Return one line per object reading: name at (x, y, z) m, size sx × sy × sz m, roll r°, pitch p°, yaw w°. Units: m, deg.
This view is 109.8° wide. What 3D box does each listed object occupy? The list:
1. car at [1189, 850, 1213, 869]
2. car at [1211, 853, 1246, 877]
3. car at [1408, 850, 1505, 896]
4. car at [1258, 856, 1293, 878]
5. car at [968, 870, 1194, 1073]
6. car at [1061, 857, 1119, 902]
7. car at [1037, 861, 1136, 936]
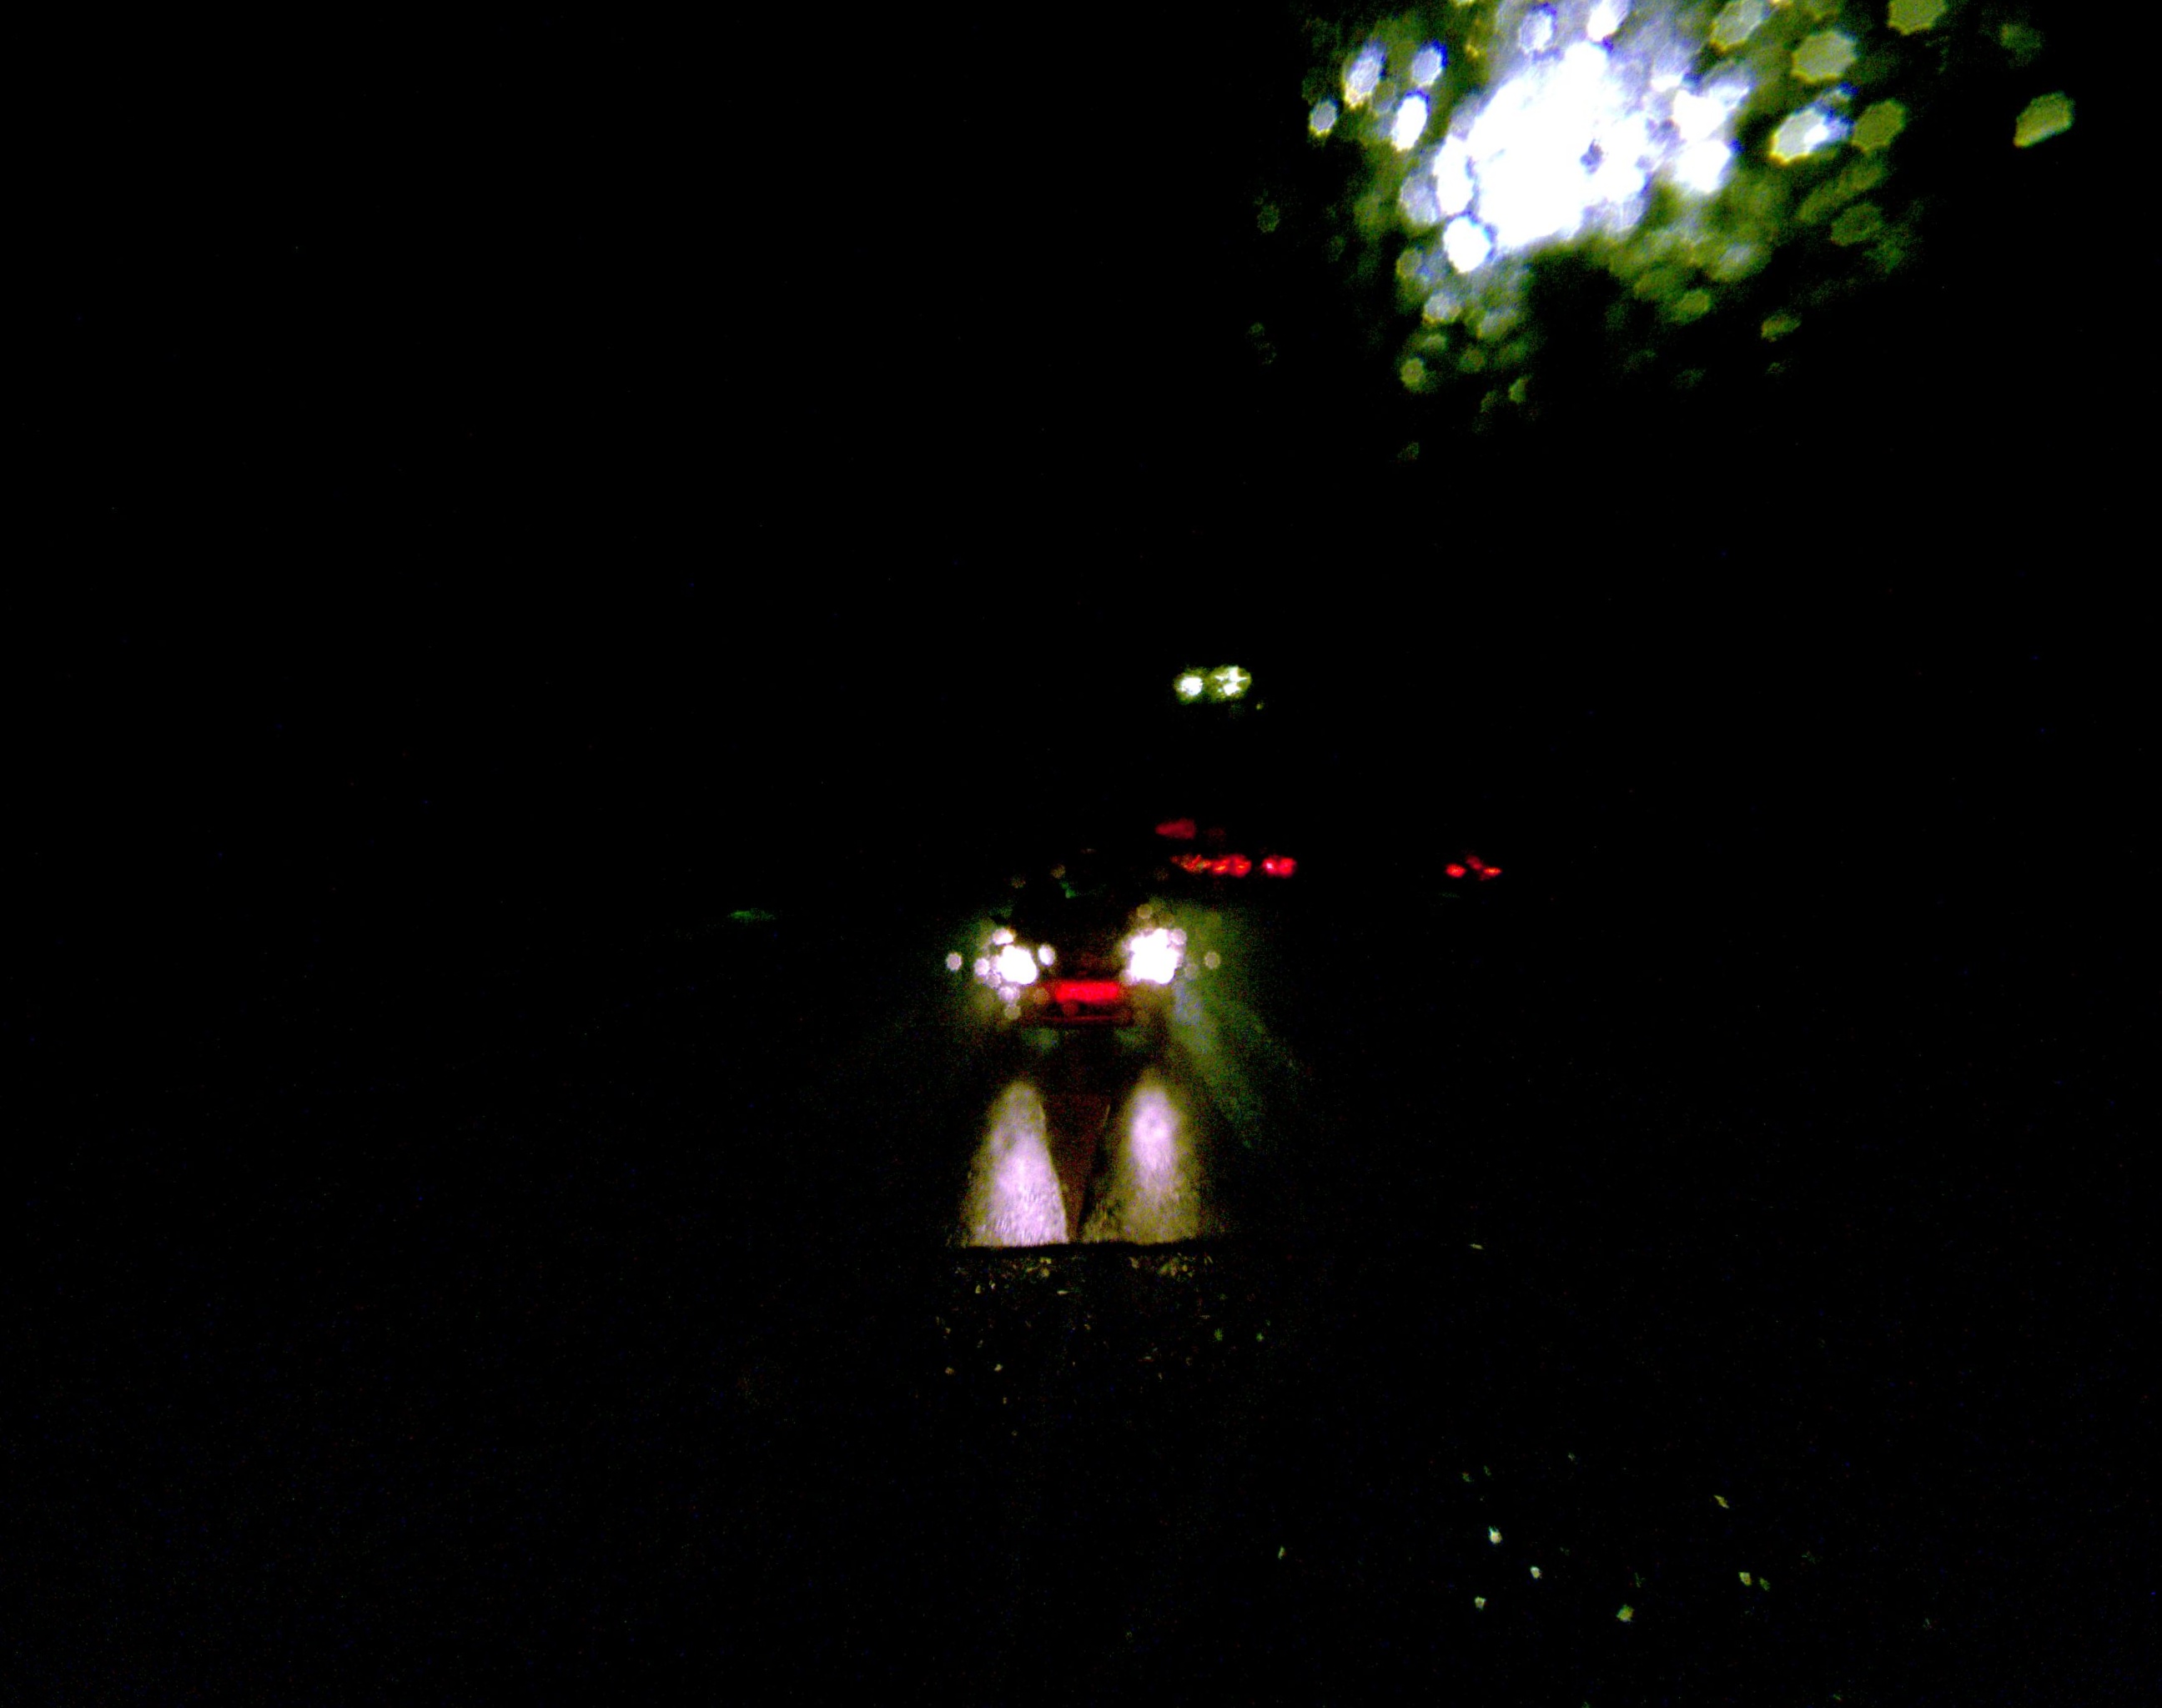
car at (11.246, 0.496, 71.213) m, size 1.788 × 1.637 × 4.001 m, roll -2°, pitch 0°, yaw 3°
car at (10.777, 0.766, 55.791) m, size 1.788 × 1.637 × 4.000 m, roll -2°, pitch 0°, yaw 0°
car at (14.494, 0.684, 29.566) m, size 1.866 × 1.637 × 4.000 m, roll -2°, pitch 0°, yaw 2°
car at (15.341, 1.013, 60.171) m, size 1.817 × 1.637 × 4.000 m, roll -2°, pitch 0°, yaw 1°
car at (0.022, 0.980, 8.074) m, size 1.764 × 1.492 × 4.000 m, roll -2°, pitch 0°, yaw 1°
car at (0.331, 0.901, 28.406) m, size 1.998 × 1.531 × 4.000 m, roll -1°, pitch 0°, yaw 1°
car at (0.134, 0.927, 17.514) m, size 1.998 × 1.455 × 4.000 m, roll -1°, pitch 0°, yaw 1°
